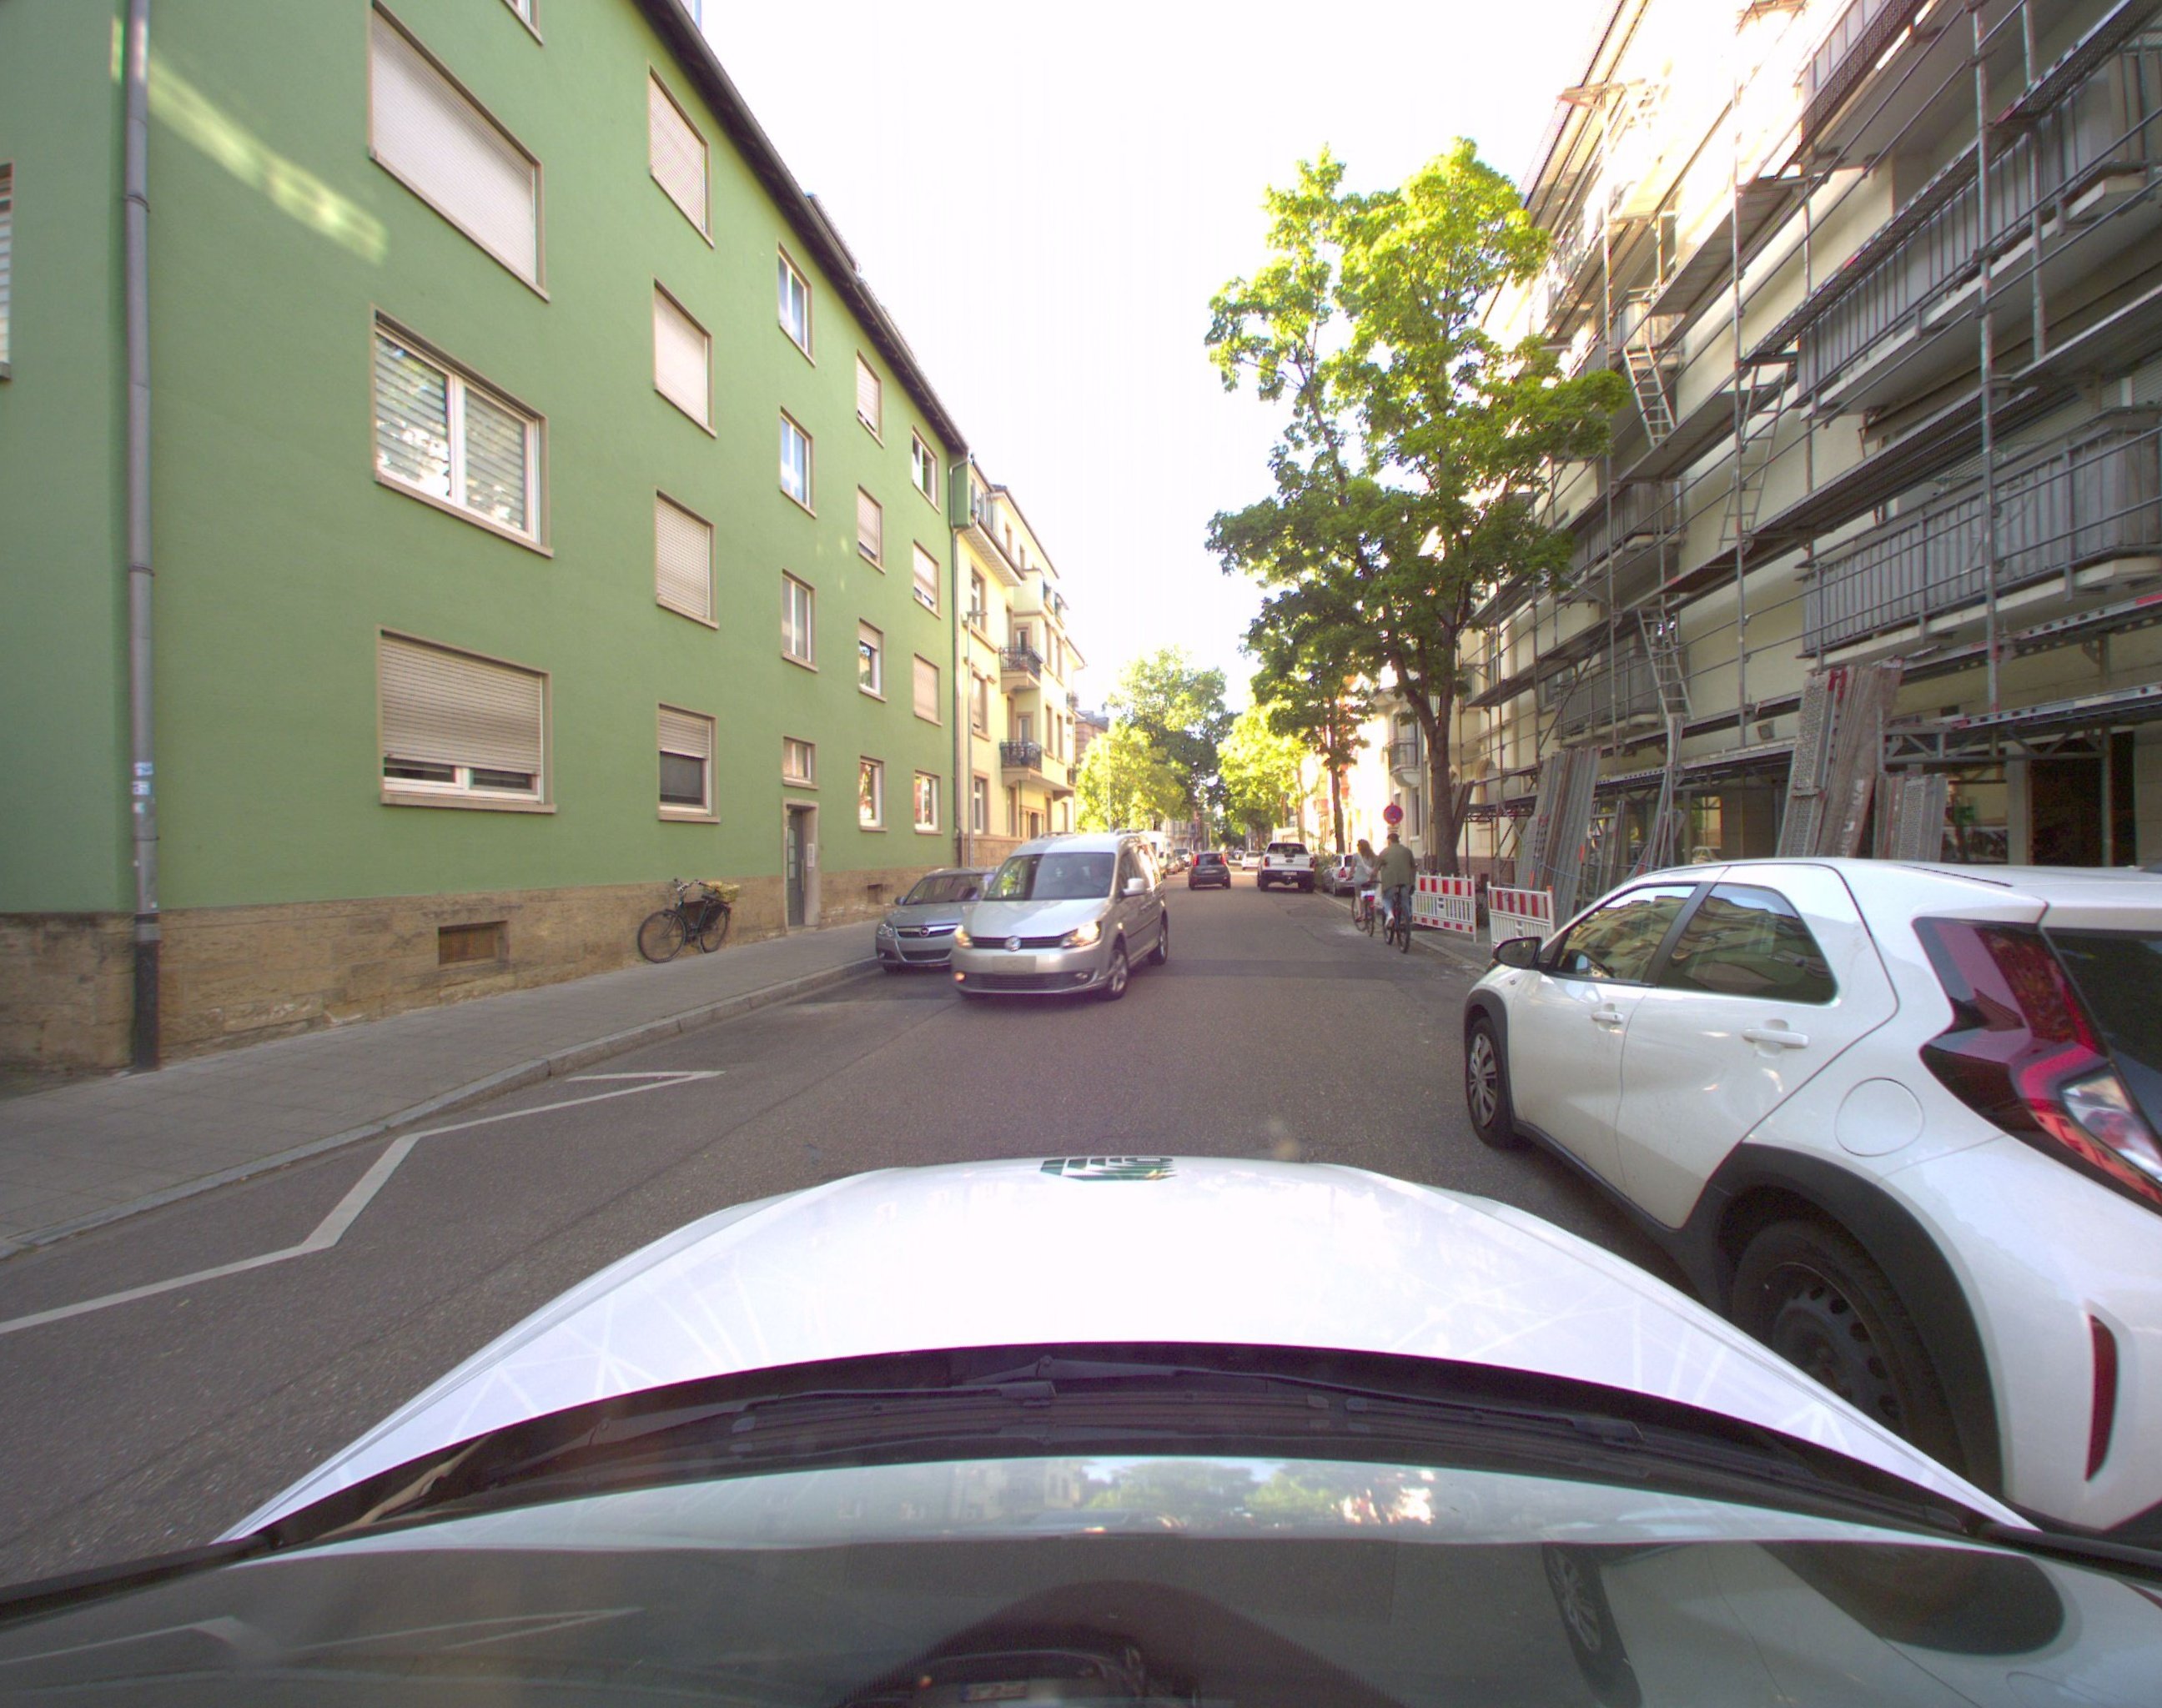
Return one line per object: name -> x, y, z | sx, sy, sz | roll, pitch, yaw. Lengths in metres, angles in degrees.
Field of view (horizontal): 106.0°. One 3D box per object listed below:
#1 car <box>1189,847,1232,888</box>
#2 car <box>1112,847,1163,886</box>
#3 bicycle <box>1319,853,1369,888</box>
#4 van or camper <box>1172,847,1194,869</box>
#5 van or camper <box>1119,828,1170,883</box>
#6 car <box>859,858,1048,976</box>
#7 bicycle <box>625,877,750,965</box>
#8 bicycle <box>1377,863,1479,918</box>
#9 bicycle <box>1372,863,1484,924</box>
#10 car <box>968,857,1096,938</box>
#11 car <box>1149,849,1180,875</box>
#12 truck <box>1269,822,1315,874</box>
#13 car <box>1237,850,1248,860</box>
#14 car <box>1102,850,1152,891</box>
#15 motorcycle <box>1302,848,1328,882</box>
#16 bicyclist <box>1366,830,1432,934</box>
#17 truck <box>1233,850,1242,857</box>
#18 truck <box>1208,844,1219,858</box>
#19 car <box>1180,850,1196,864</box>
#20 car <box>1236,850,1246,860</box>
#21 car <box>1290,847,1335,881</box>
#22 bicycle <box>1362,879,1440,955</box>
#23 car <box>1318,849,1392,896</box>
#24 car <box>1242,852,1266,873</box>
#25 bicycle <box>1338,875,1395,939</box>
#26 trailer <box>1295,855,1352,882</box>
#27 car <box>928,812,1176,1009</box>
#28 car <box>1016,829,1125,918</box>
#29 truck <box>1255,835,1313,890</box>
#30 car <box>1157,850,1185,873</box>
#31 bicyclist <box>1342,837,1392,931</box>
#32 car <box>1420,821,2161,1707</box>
car -> 5.324, 0.521, 33.339 | 1.622, 1.550, 3.274 | -1, 0, 11
car -> 2.800, 0.540, 39.289 | 1.864, 1.685, 4.983 | -3, 0, 10
bicycle -> 10.165, 0.620, 31.520 | 1.749, 1.305, 0.587 | -1, 0, 8
van or camper -> 10.344, 0.395, 82.408 | 1.910, 1.980, 5.476 | -4, -1, 9
van or camper -> 3.589, 0.069, 45.021 | 2.115, 2.769, 5.868 | -3, 0, 10
car -> -1.806, 0.857, 13.072 | 1.710, 1.462, 4.516 | -4, 0, 7
bicycle -> -5.536, 0.898, 11.597 | 0.484, 1.075, 1.975 | 3, 0, 10
bicycle -> 7.404, 0.757, 17.460 | 1.960, 1.121, 0.751 | 0, 0, 20
bicycle -> 6.831, 0.746, 16.081 | 1.904, 1.121, 0.752 | 0, 0, 40
car -> -0.927, 0.859, 18.034 | 1.822, 1.462, 4.374 | -4, 0, 9
car -> 5.743, 0.516, 55.689 | 1.769, 1.590, 4.481 | -3, 0, 10
truck -> 13.178, -0.390, 51.253 | 2.061, 2.968, 6.125 | -4, 0, 9
car -> 25.896, 0.151, 130.618 | 1.652, 1.669, 3.769 | 0, 0, 11
car -> 2.002, 0.671, 34.266 | 1.625, 1.552, 4.099 | -2, -1, 9
motorcycle -> 10.653, 0.471, 37.115 | 0.924, 1.486, 2.145 | -1, 0, 11
bicyclist -> 5.004, 0.417, 12.868 | 0.751, 1.565, 0.983 | 0, 0, 8
truck -> 37.068, -0.131, 193.210 | 1.981, 1.456, 4.011 | -1, 0, 10
truck -> 30.206, -0.751, 185.921 | 2.057, 2.926, 5.083 | -5, -1, 11
car -> 12.905, 0.338, 98.061 | 1.815, 1.554, 4.142 | -5, -1, 8
car -> 26.536, 0.145, 135.081 | 1.652, 1.505, 3.769 | 0, 0, 11
car -> 11.480, 0.472, 40.611 | 1.739, 1.529, 4.796 | -2, 0, 11
bicycle -> 4.998, 0.944, 12.831 | 0.735, 1.060, 1.862 | 0, 0, 8
car -> 9.203, 0.574, 27.685 | 1.670, 1.422, 4.442 | -2, 0, 10
car -> 13.316, 0.603, 62.920 | 1.669, 1.544, 3.810 | 0, 0, 9
bicycle -> 5.302, 0.948, 15.219 | 0.701, 1.045, 1.863 | 2, 0, 11
trailer -> 10.468, 0.630, 35.195 | 2.076, 1.112, 1.114 | -1, 0, -4
car -> -0.065, 0.567, 10.045 | 1.758, 1.843, 4.433 | -3, -1, 14
car -> -0.146, 0.496, 23.636 | 2.239, 2.168, 5.255 | -4, 0, 8
truck -> 7.797, 0.274, 31.653 | 1.817, 1.949, 5.557 | -1, 0, 10
car -> 6.889, 0.556, 61.806 | 1.665, 1.572, 4.164 | -4, 0, 11
bicyclist -> 5.325, 0.541, 15.225 | 0.710, 1.689, 0.984 | 2, 0, 11
car -> 2.667, 0.703, 3.131 | 1.791, 1.535, 3.977 | 0, 0, 11
